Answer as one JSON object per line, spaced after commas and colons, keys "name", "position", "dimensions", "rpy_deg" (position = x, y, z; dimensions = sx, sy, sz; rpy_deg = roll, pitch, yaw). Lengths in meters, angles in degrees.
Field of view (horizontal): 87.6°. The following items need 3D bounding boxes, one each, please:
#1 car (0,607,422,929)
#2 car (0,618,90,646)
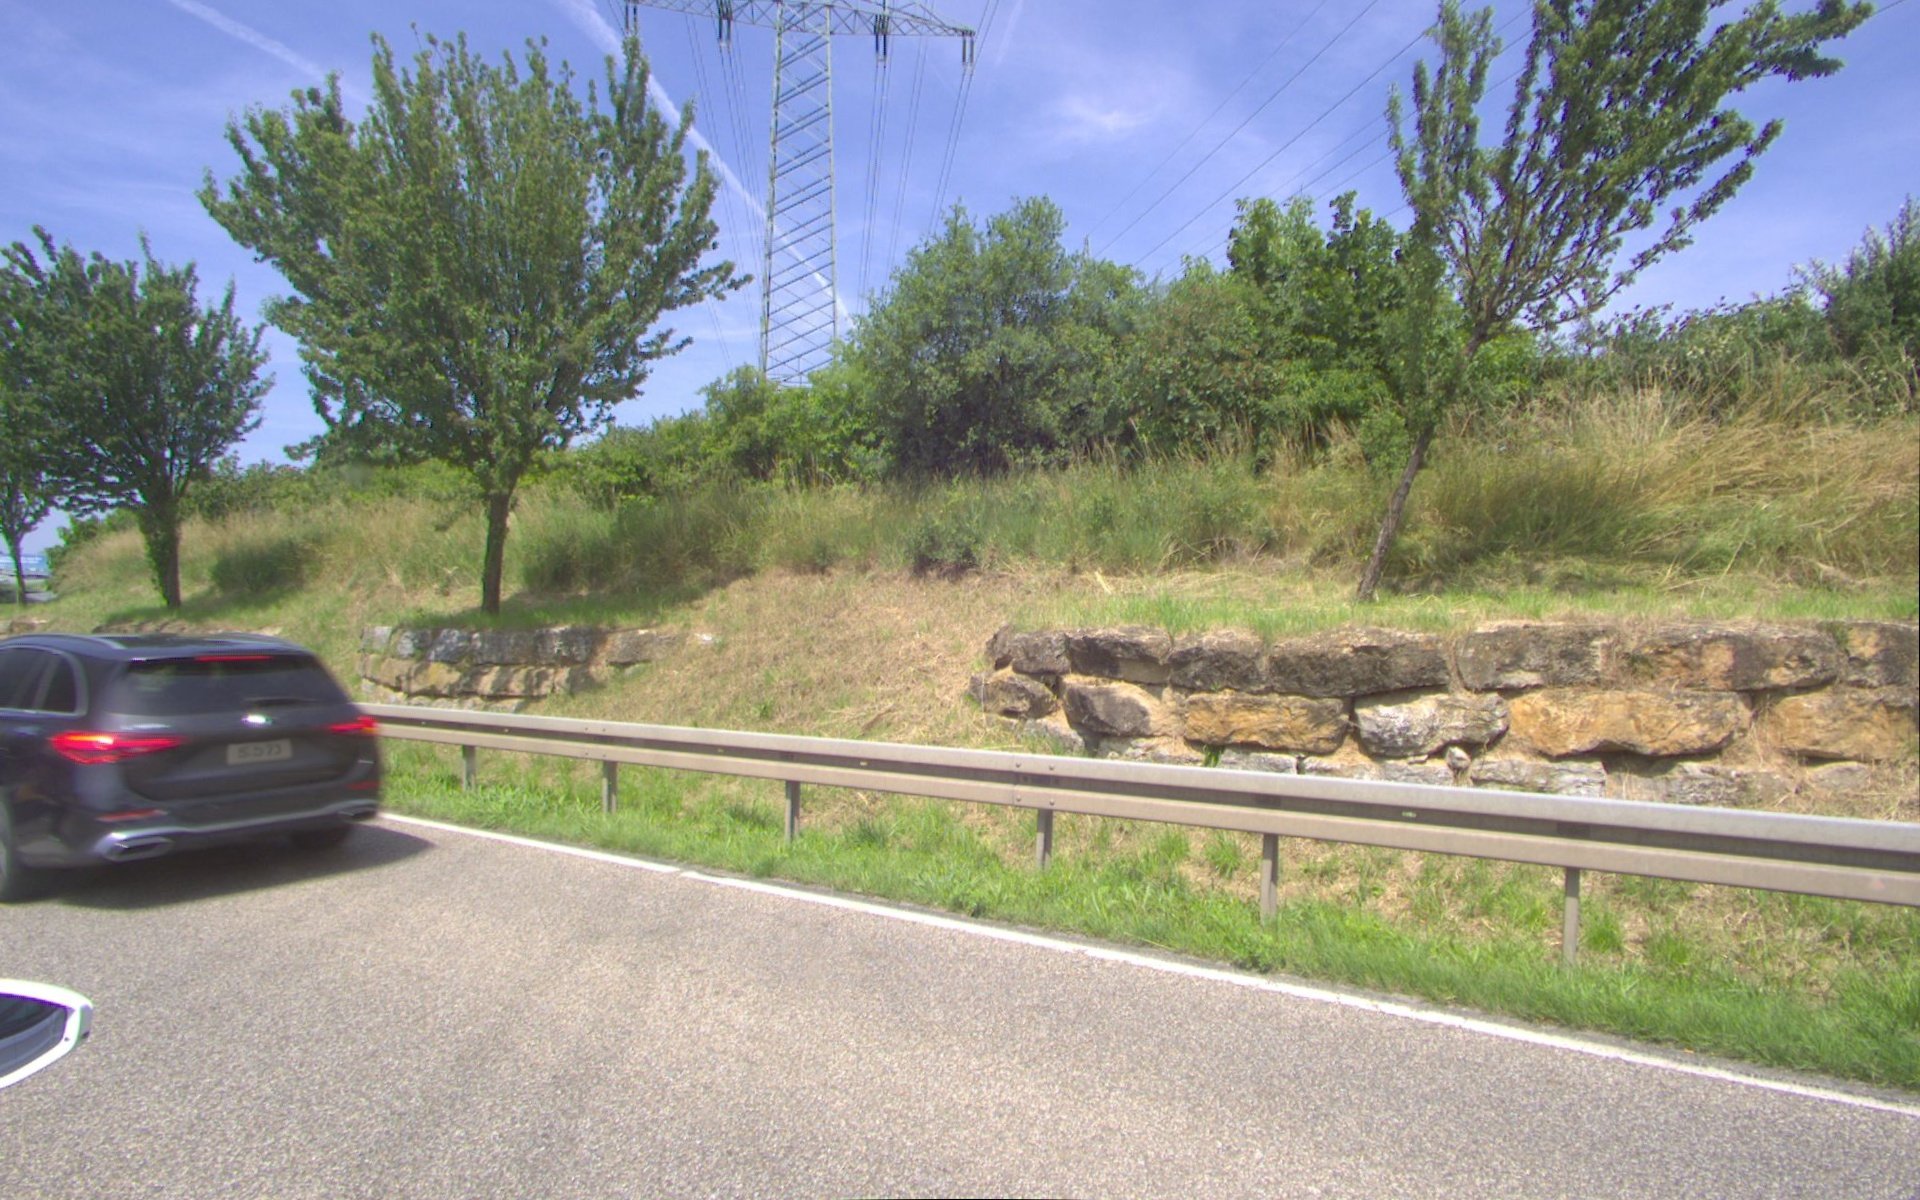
{"name": "car", "position": [-5.631, 0.880, 6.717], "dimensions": [4.238, 1.552, 1.743], "rpy_deg": [-1, -2, 33]}
{"name": "car", "position": [-52.405, 1.776, 56.777], "dimensions": [1.687, 1.530, 4.361], "rpy_deg": [-1, -1, 23]}
